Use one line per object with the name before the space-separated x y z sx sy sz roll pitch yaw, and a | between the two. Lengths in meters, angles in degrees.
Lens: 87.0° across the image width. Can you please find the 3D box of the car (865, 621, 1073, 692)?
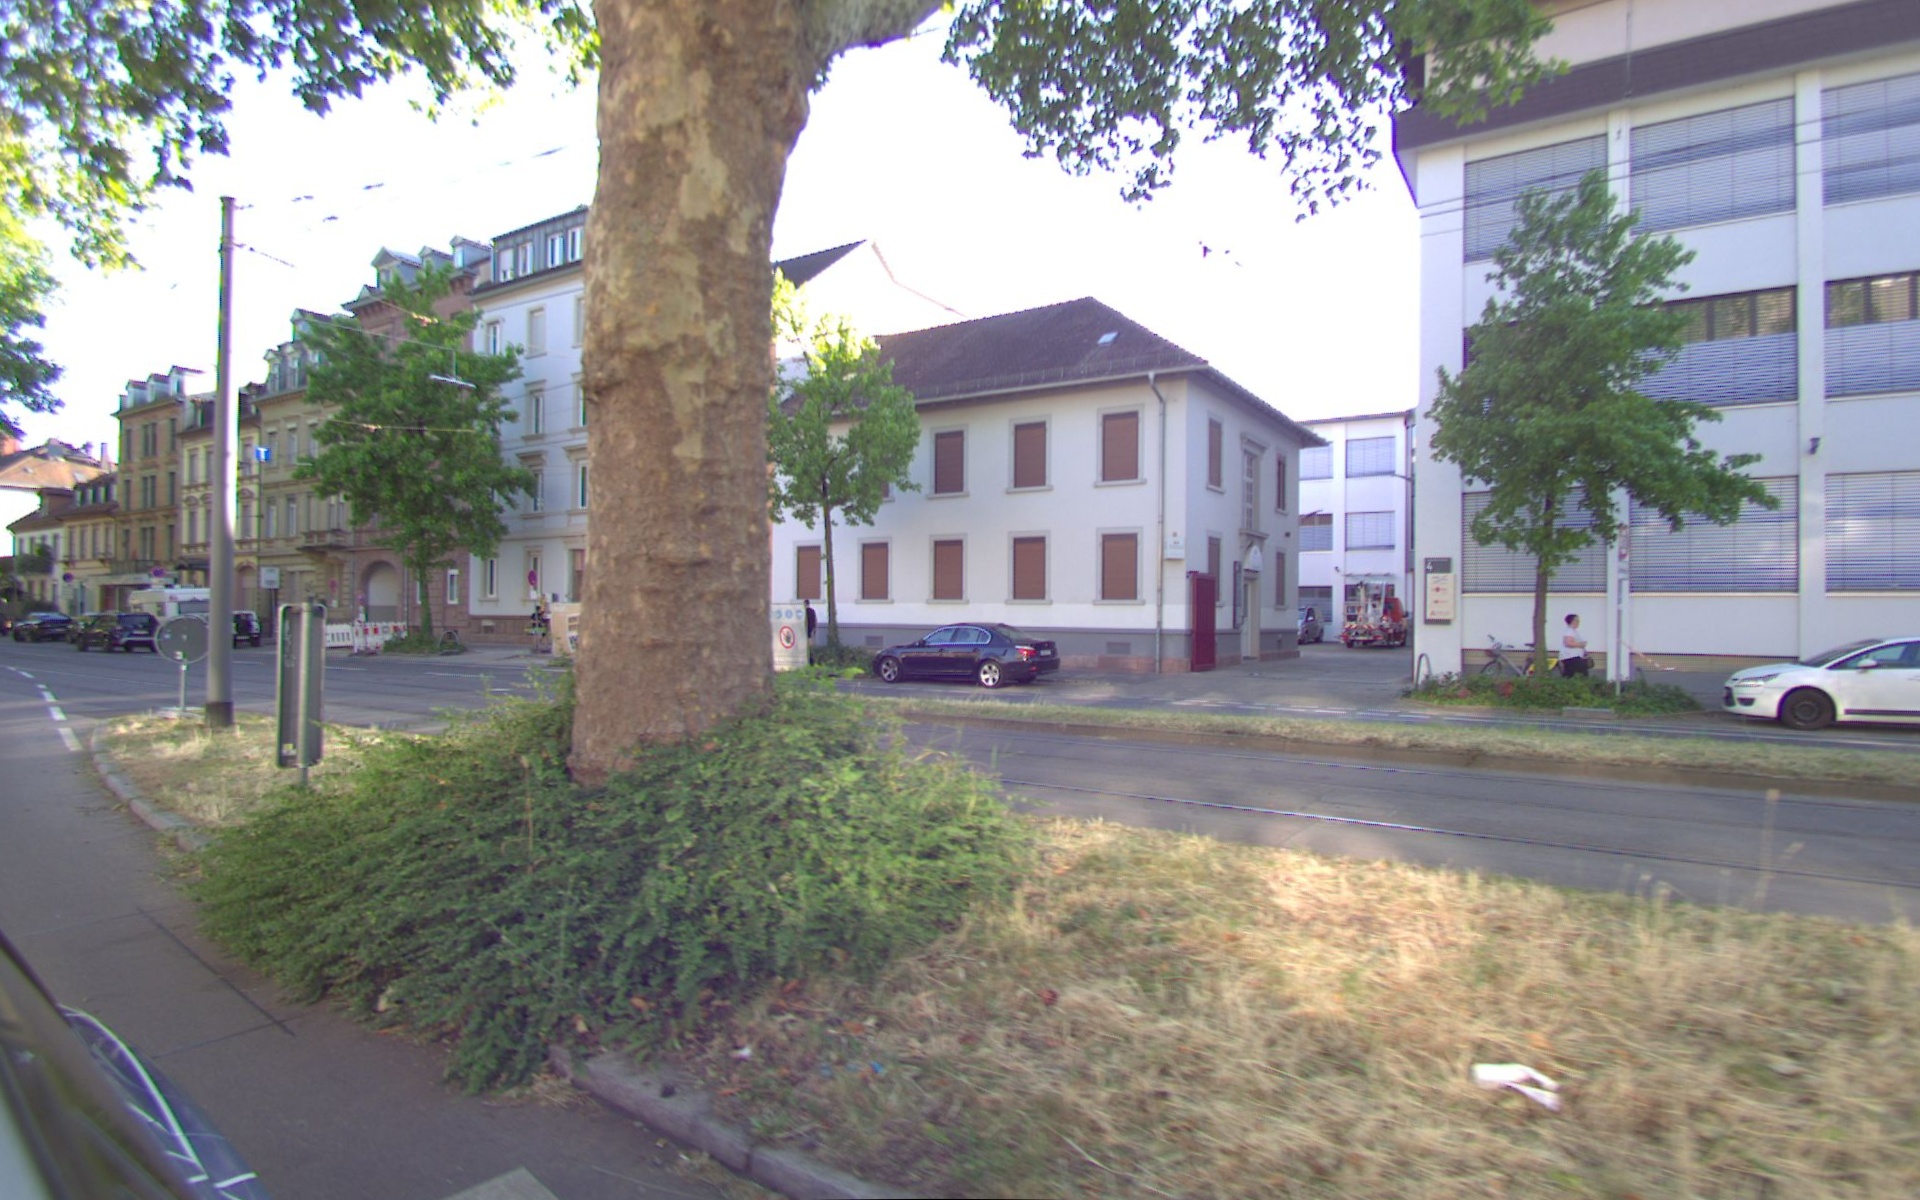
car | 0.175 1.292 24.360 4.711 1.525 1.978 -1 -2 33

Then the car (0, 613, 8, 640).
car | -63.732 1.754 65.908 3.616 1.759 1.710 -1 2 34

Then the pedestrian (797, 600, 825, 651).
pedestrian | -4.734 0.807 32.115 0.637 1.582 0.589 -1 -2 32

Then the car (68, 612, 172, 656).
car | -34.019 1.343 40.963 4.296 1.702 1.978 0 -2 32

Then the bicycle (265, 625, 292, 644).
bicycle | -35.004 1.762 51.995 1.788 0.931 0.573 -1 -2 36

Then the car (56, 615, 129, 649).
car | -47.372 1.698 55.221 4.429 1.718 1.796 -1 2 33

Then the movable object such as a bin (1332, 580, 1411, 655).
movable object such as a bin | 18.272 0.670 44.766 2.280 3.026 6.053 -1 1 31

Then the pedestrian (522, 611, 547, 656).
pedestrian | -15.837 1.240 37.678 0.686 1.666 0.563 -1 0 34

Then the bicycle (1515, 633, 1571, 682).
bicycle | 12.461 1.215 21.648 1.015 1.010 0.300 -1 -2 32

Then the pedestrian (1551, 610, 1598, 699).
pedestrian | 11.533 1.004 18.989 0.729 1.633 0.630 0 -1 32

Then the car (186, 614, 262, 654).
car | -33.854 1.519 46.559 3.359 1.718 1.619 0 1 31

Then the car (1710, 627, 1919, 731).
car | 14.282 1.169 15.435 4.391 1.482 1.978 0 -2 32

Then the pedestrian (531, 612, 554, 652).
pedestrian | -15.853 1.213 38.425 0.606 1.472 0.571 -1 0 33

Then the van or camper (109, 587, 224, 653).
van or camper | -39.197 0.942 49.898 7.234 2.969 2.399 -1 2 35

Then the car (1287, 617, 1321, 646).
car | 16.616 1.517 48.817 1.474 1.307 3.279 0 -2 20

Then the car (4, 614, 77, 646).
car | -53.725 1.744 59.104 4.736 1.715 1.978 -1 2 33
